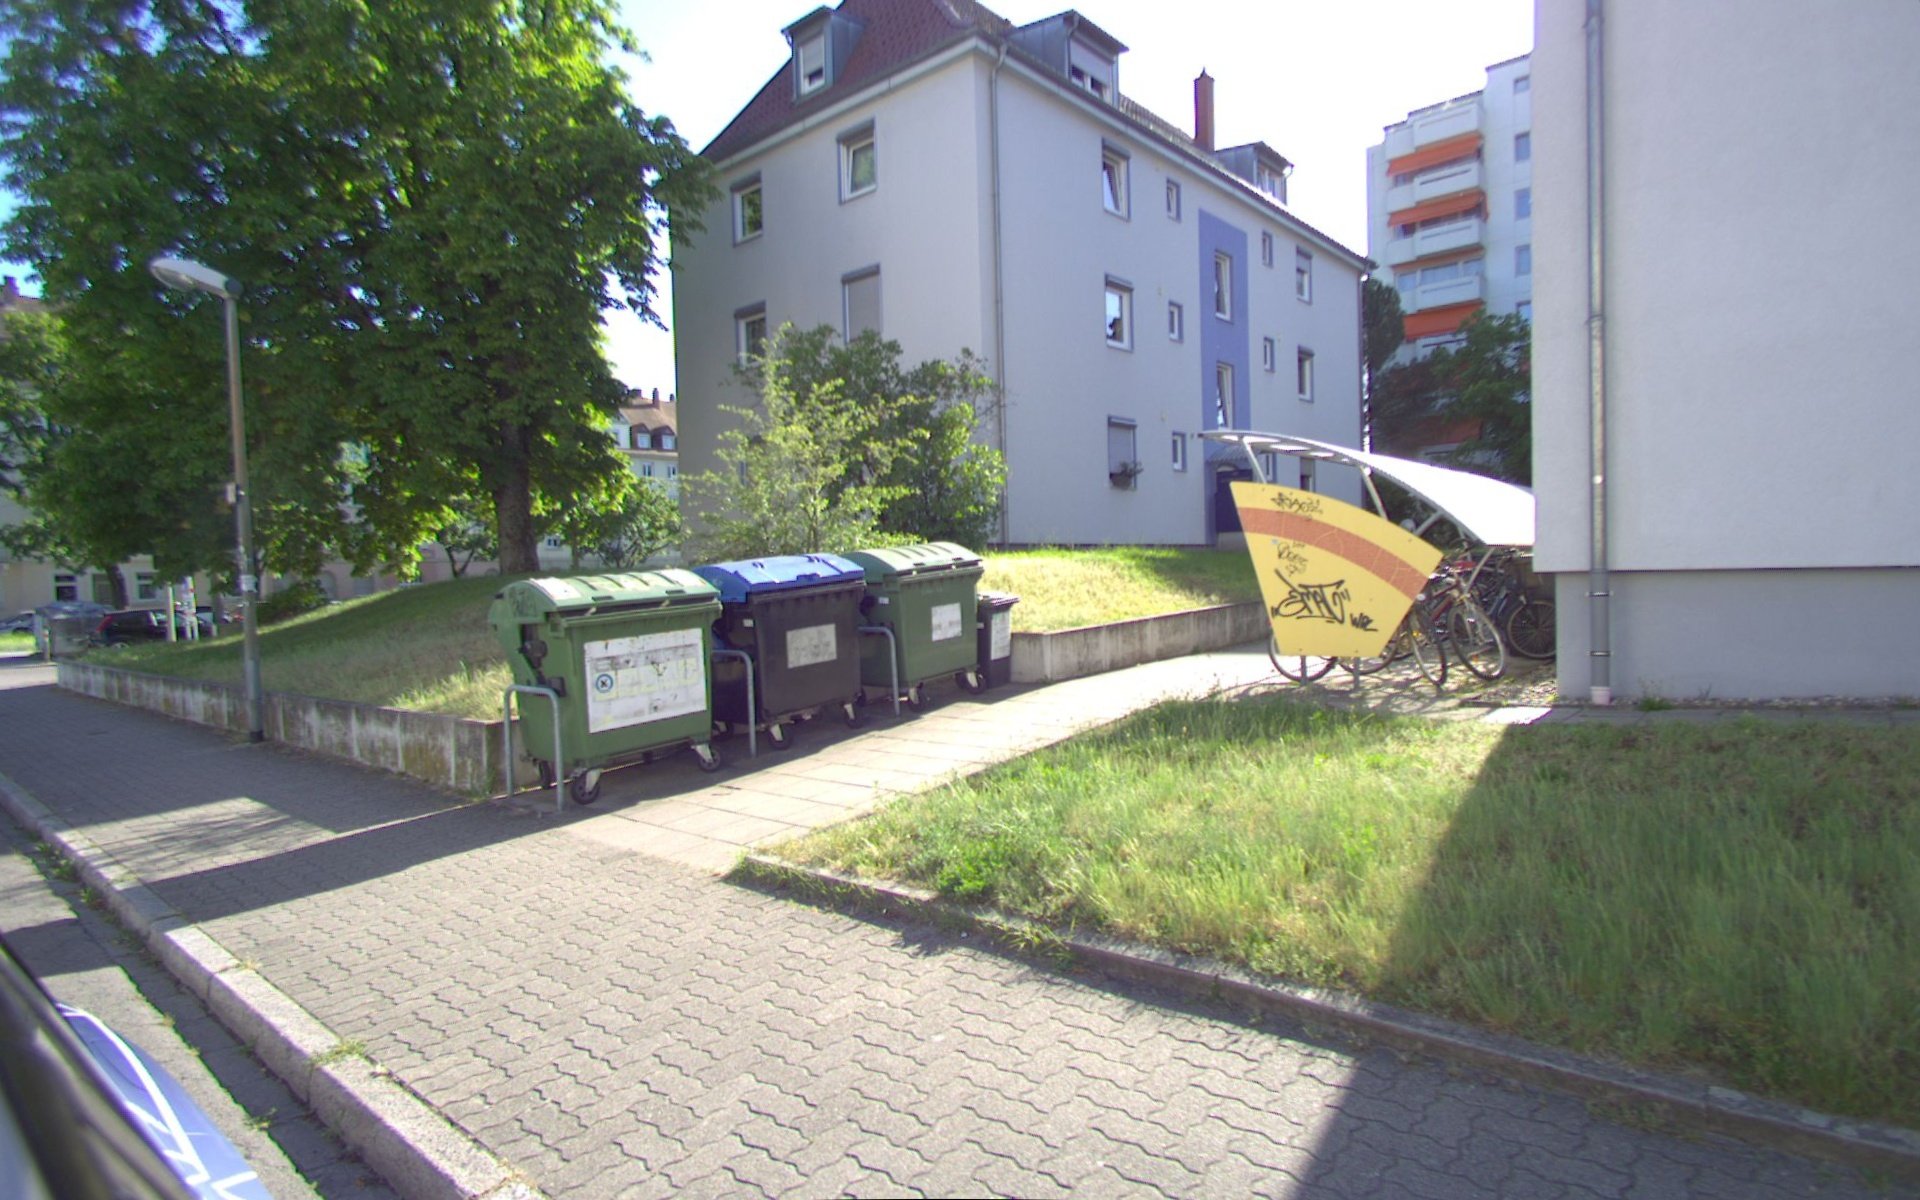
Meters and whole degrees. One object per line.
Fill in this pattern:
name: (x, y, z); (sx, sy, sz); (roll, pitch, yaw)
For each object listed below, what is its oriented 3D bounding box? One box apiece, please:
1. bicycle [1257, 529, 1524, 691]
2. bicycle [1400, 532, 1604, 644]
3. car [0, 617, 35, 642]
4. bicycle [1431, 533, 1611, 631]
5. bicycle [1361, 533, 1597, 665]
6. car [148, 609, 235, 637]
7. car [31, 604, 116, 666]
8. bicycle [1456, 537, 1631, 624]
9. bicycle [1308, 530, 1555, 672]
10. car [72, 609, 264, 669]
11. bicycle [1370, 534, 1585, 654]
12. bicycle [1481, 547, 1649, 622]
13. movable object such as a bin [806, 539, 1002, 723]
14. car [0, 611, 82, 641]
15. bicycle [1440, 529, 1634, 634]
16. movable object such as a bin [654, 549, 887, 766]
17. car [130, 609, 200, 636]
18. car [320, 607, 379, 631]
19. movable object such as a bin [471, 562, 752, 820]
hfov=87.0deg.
bicycle: (3.675, 0.078, 8.771); (2.008, 1.260, 0.633); (-1, 2, 41)
bicycle: (6.357, -0.129, 11.944); (2.008, 1.227, 0.633); (-1, 2, 41)
car: (-53.575, 1.666, 56.171); (1.544, 1.329, 3.152); (-1, 0, 40)
bicycle: (7.488, -0.229, 13.578); (2.008, 1.227, 0.633); (-1, 2, 41)
bicycle: (5.229, -0.011, 10.291); (2.008, 1.227, 0.670); (-1, 2, 41)
car: (-44.296, 1.290, 58.369); (1.624, 1.456, 3.737); (-1, 0, 42)
car: (-26.280, 0.999, 29.965); (1.655, 1.667, 3.306); (-2, 0, -45)
bicycle: (8.117, -0.256, 14.143); (2.008, 1.140, 0.633); (-1, 2, 41)
bicycle: (4.441, 0.010, 9.633); (2.008, 1.227, 0.633); (-1, 2, 41)
car: (-22.768, 1.073, 29.208); (1.728, 1.508, 4.087); (-1, 0, 41)
bicycle: (5.704, -0.060, 11.239); (2.008, 1.227, 0.633); (-1, 2, 41)
bicycle: (8.824, -0.214, 14.815); (2.008, 1.014, 0.633); (-1, 2, 41)
movable object such as a bin: (-0.500, 0.237, 9.327); (1.072, 1.463, 1.347); (-1, 5, 41)
car: (-48.724, 1.343, 53.161); (1.624, 1.456, 3.737); (-1, 0, 42)
bicycle: (7.219, -0.215, 12.725); (2.008, 1.227, 0.633); (-1, 2, 41)
movable object such as a bin: (-1.498, 0.398, 8.119); (1.082, 1.470, 1.341); (-1, 5, 41)
car: (-48.736, 1.356, 62.075); (1.544, 1.519, 3.152); (-1, 0, 40)
car: (-41.925, 1.292, 69.509); (1.544, 1.519, 3.152); (-1, 0, 40)
movable object such as a bin: (-2.382, 0.543, 6.975); (1.197, 1.470, 1.302); (-1, 5, 41)
